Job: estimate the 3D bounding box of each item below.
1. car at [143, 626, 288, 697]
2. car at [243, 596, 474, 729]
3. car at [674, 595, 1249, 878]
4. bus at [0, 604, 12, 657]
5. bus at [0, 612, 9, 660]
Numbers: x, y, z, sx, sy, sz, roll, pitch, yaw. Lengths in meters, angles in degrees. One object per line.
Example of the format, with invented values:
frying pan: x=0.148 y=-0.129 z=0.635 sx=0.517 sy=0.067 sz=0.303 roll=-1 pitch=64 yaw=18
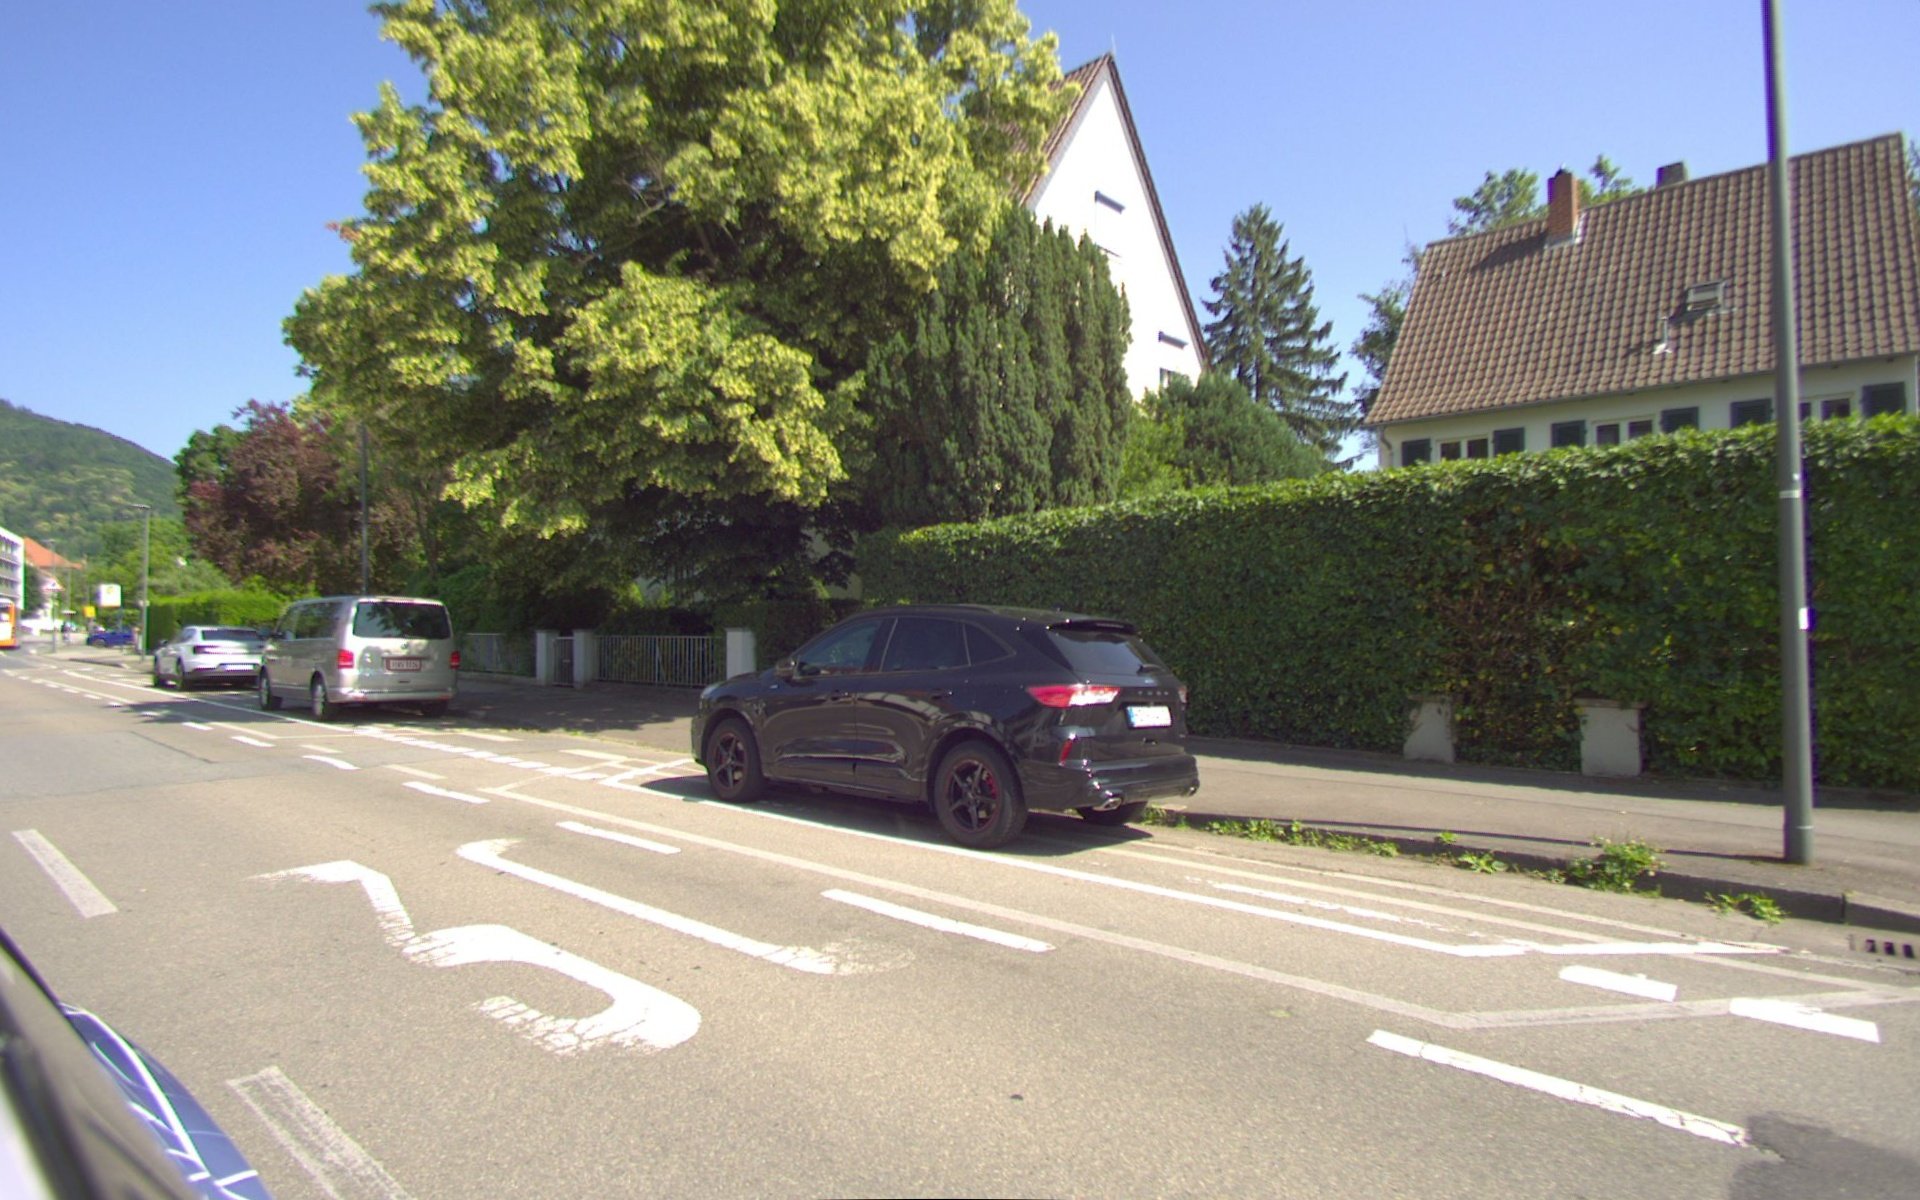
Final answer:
car: x=-17.536 y=1.433 z=23.755 sx=4.561 sy=1.497 sz=1.813 roll=-2 pitch=-5 yaw=43
car: x=-10.212 y=1.034 z=17.018 sx=4.866 sy=1.934 sz=1.865 roll=-2 pitch=-5 yaw=42
car: x=-0.196 y=0.889 z=8.028 sx=4.446 sy=1.623 sz=1.831 roll=-1 pitch=-5 yaw=42
bus: x=-62.141 y=1.947 z=64.114 sx=2.713 sy=3.199 sz=9.784 roll=3 pitch=-4 yaw=-44
bus: x=-68.939 y=2.515 z=71.142 sx=2.713 sy=3.199 sz=9.784 roll=3 pitch=-4 yaw=-44
